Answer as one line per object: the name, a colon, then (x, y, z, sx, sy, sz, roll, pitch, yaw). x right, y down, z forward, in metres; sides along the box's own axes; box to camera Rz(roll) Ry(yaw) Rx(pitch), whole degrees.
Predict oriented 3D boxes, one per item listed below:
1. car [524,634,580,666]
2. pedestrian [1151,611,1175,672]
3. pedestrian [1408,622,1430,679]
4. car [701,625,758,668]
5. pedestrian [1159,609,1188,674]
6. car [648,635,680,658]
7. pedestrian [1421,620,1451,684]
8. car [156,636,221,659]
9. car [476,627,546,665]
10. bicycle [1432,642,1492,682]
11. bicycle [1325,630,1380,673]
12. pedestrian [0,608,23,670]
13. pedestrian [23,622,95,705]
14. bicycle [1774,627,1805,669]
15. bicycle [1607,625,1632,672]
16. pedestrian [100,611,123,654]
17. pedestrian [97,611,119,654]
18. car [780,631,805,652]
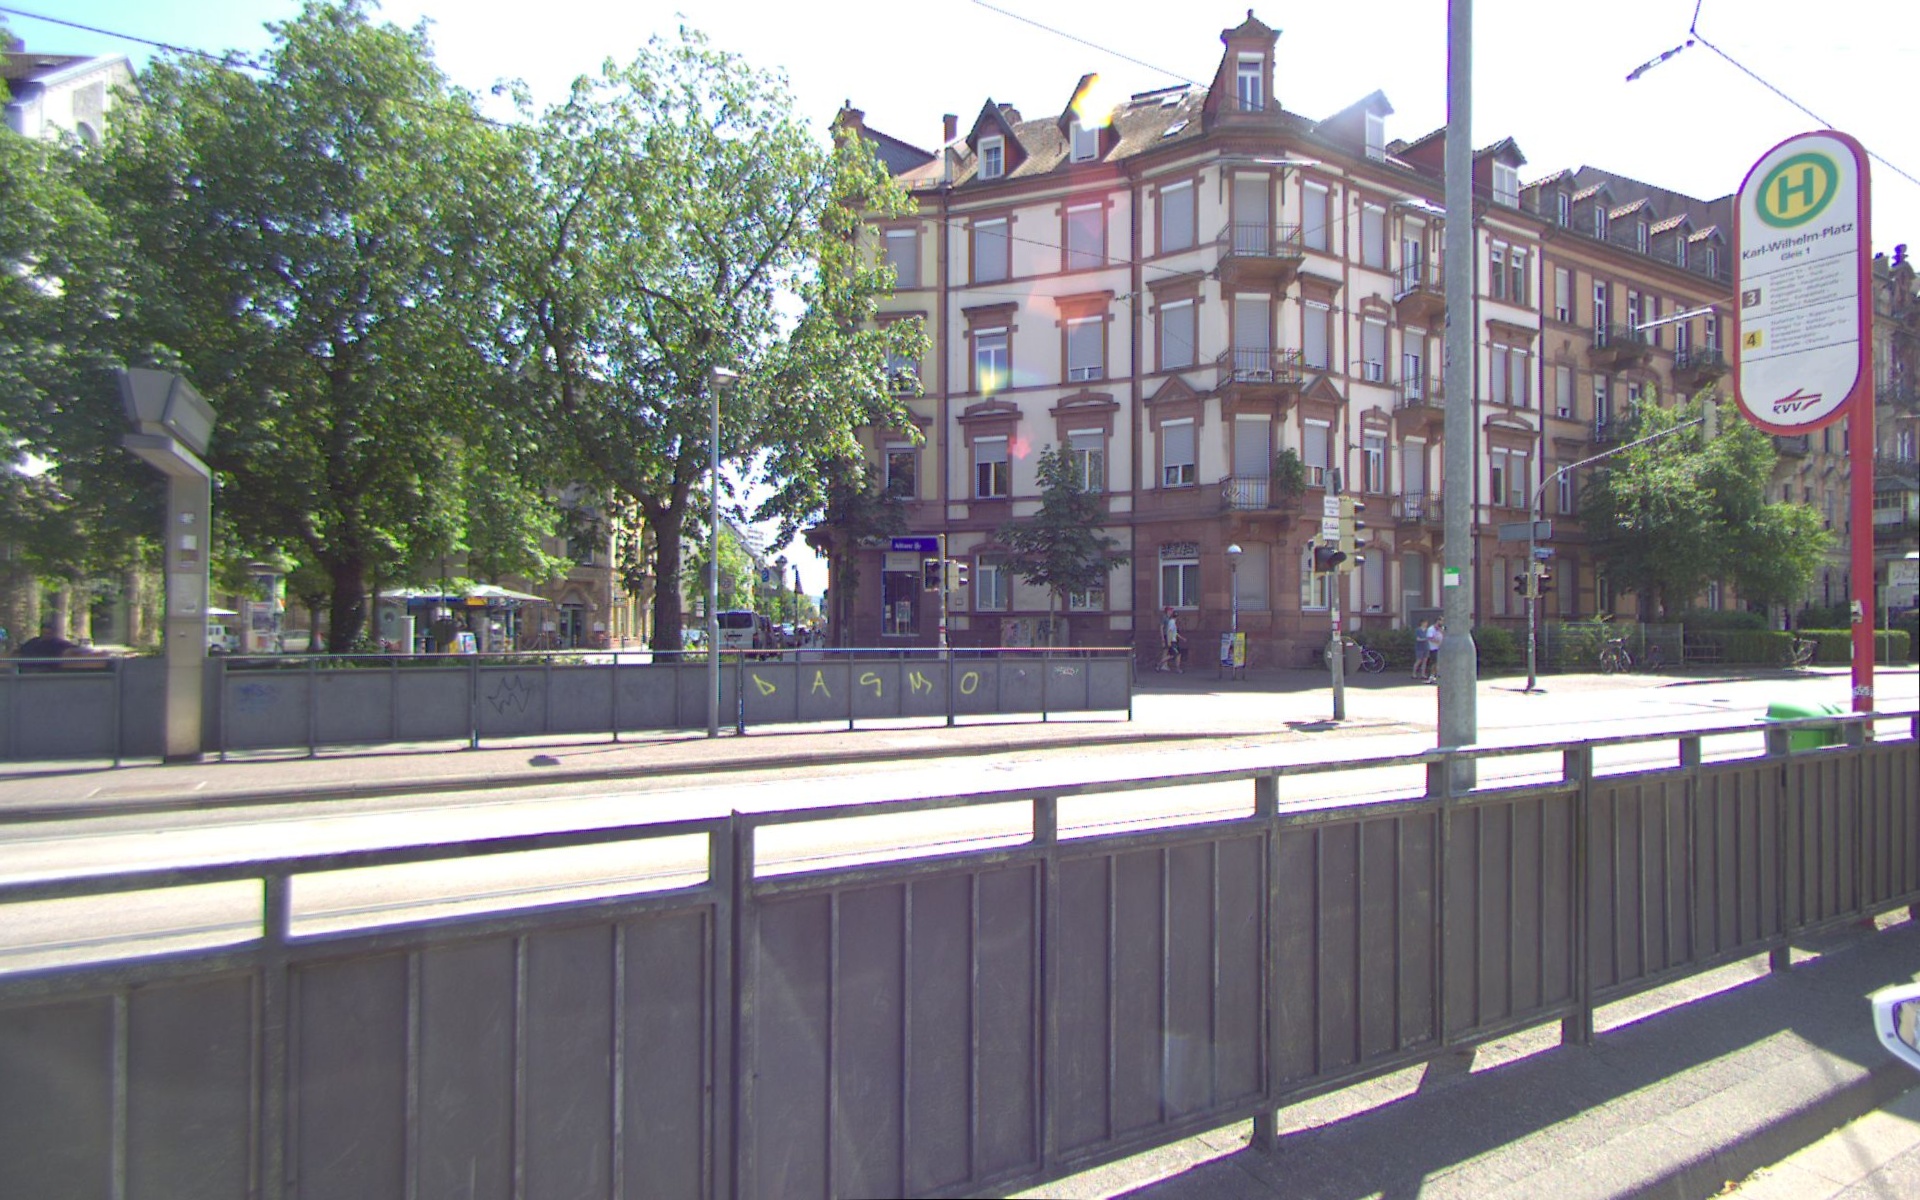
car: (-20.314, 2.456, 50.179, 1.512, 1.461, 3.739, 1, -1, -5)
pedestrian: (6.043, 1.216, 29.916, 0.500, 1.791, 0.527, 0, -1, 39)
pedestrian: (12.637, 1.380, 27.678, 0.497, 1.536, 0.469, 1, -1, 18)
car: (-8.412, 1.684, 36.913, 1.512, 1.461, 3.739, 1, -1, -5)
pedestrian: (6.170, 1.191, 29.019, 0.556, 1.849, 0.632, 0, -1, 39)
car: (-20.931, 3.268, 71.040, 1.513, 1.461, 3.738, 1, -1, -6)
pedestrian: (12.518, 1.350, 26.433, 0.641, 1.637, 0.469, 1, 2, 18)
car: (-31.149, 1.910, 40.564, 0.847, 0.876, 1.910, 0, -1, 35)
car: (-18.864, 1.913, 42.377, 1.512, 1.461, 3.739, 1, -1, -5)
bicycle: (13.364, 1.634, 26.774, 1.375, 1.026, 0.389, 0, -1, 21)
bicycle: (11.610, 1.509, 29.732, 1.494, 1.185, 0.364, 0, 0, 34)
pedestrian: (-27.915, 1.123, 29.203, 0.703, 1.774, 0.616, 1, -1, -6)
pedestrian: (-14.584, 1.017, 16.263, 0.607, 1.304, 0.646, 1, -1, 21)
bicycle: (28.533, 1.637, 34.571, 0.583, 1.374, 2.434, 0, -1, 34)
bicycle: (20.400, 1.479, 31.071, 0.606, 1.414, 2.301, 0, -1, 34)
pedestrian: (-33.160, 1.265, 39.254, 0.554, 1.644, 0.510, 1, -1, -30)
pedestrian: (-32.915, 1.260, 38.797, 0.520, 1.644, 0.493, 1, -1, -30)
car: (-12.446, 3.075, 74.782, 1.512, 1.461, 3.739, 1, -1, -5)
